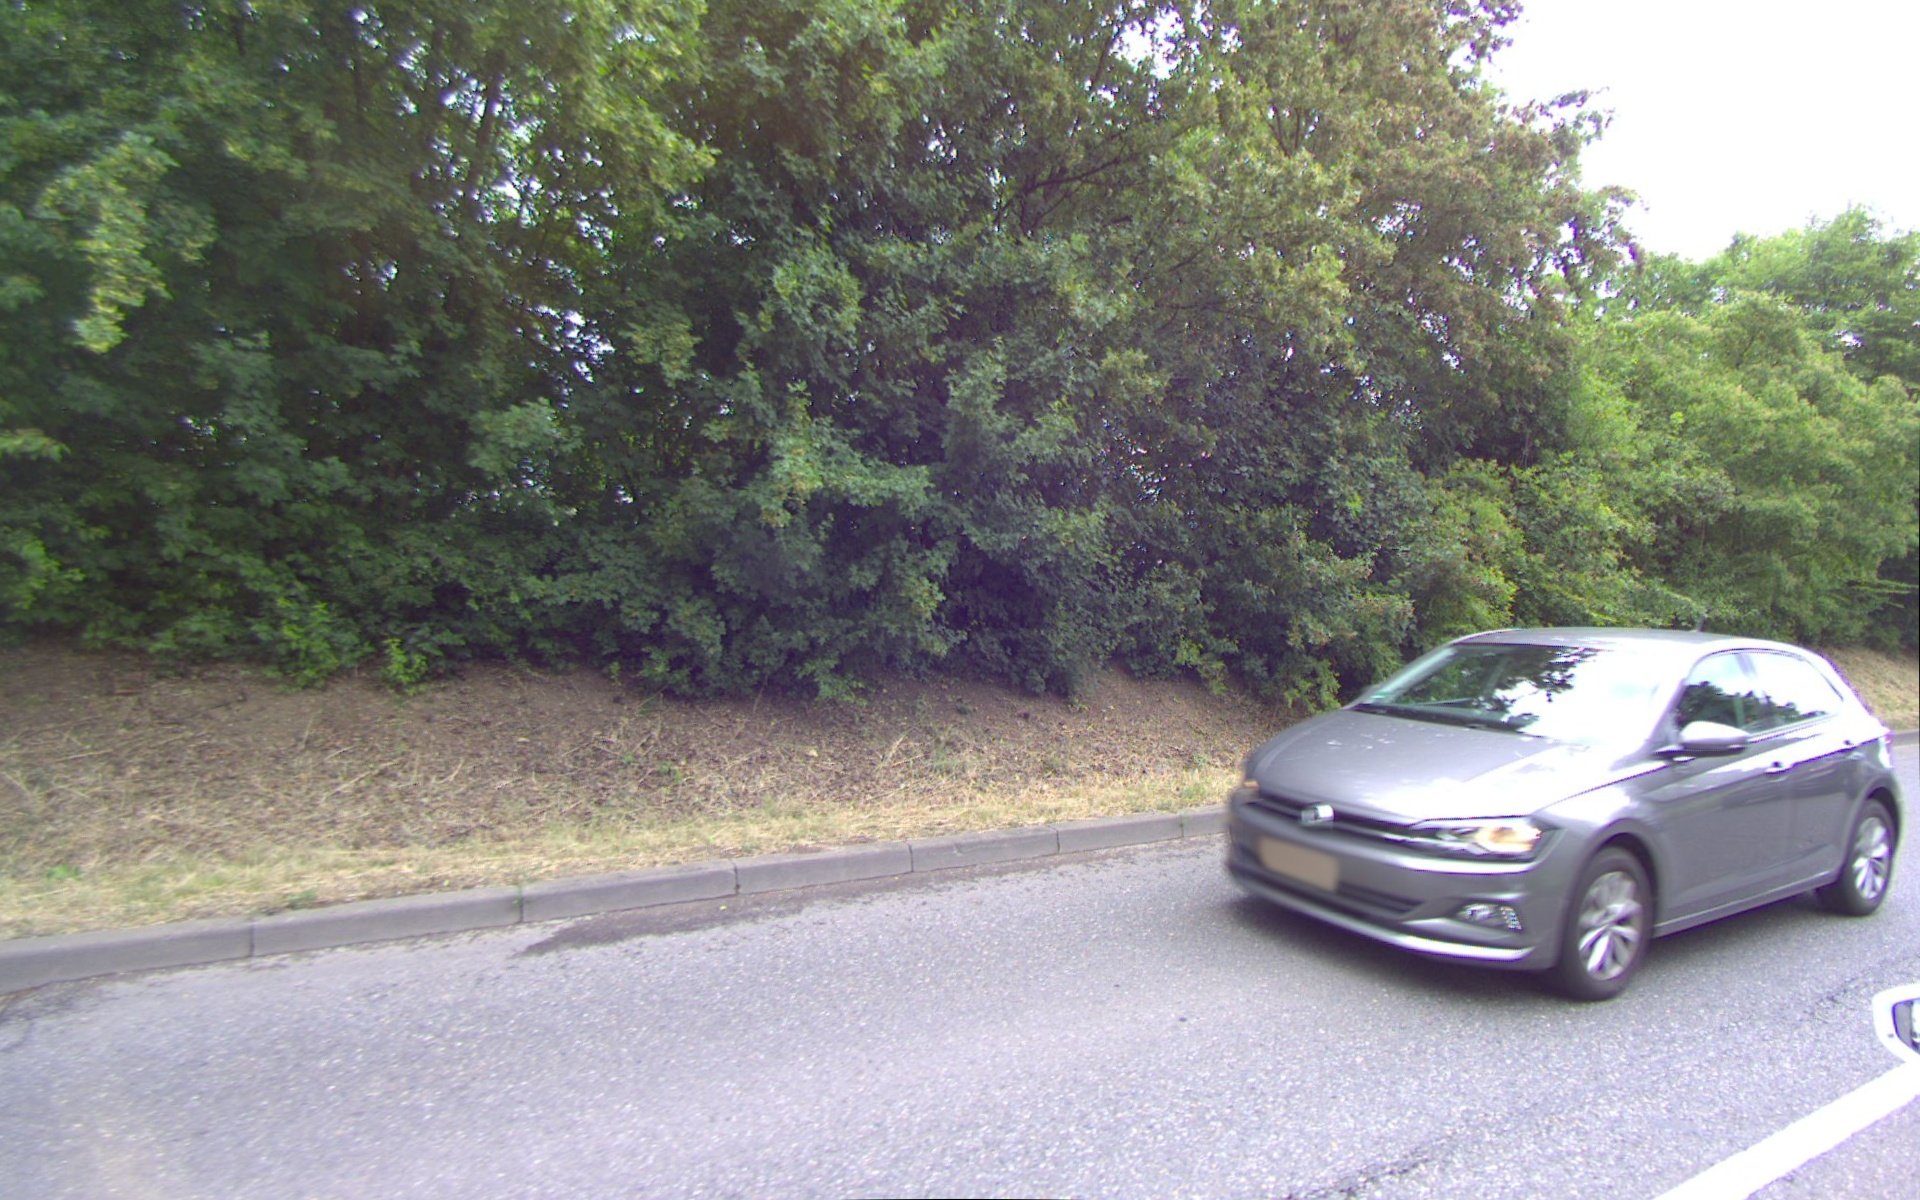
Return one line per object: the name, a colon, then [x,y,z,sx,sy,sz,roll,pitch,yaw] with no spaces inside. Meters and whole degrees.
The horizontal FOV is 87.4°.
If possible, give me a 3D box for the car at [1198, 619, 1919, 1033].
car: [3.214,0.857,5.198,3.777,1.419,1.634,2,0,-30]
